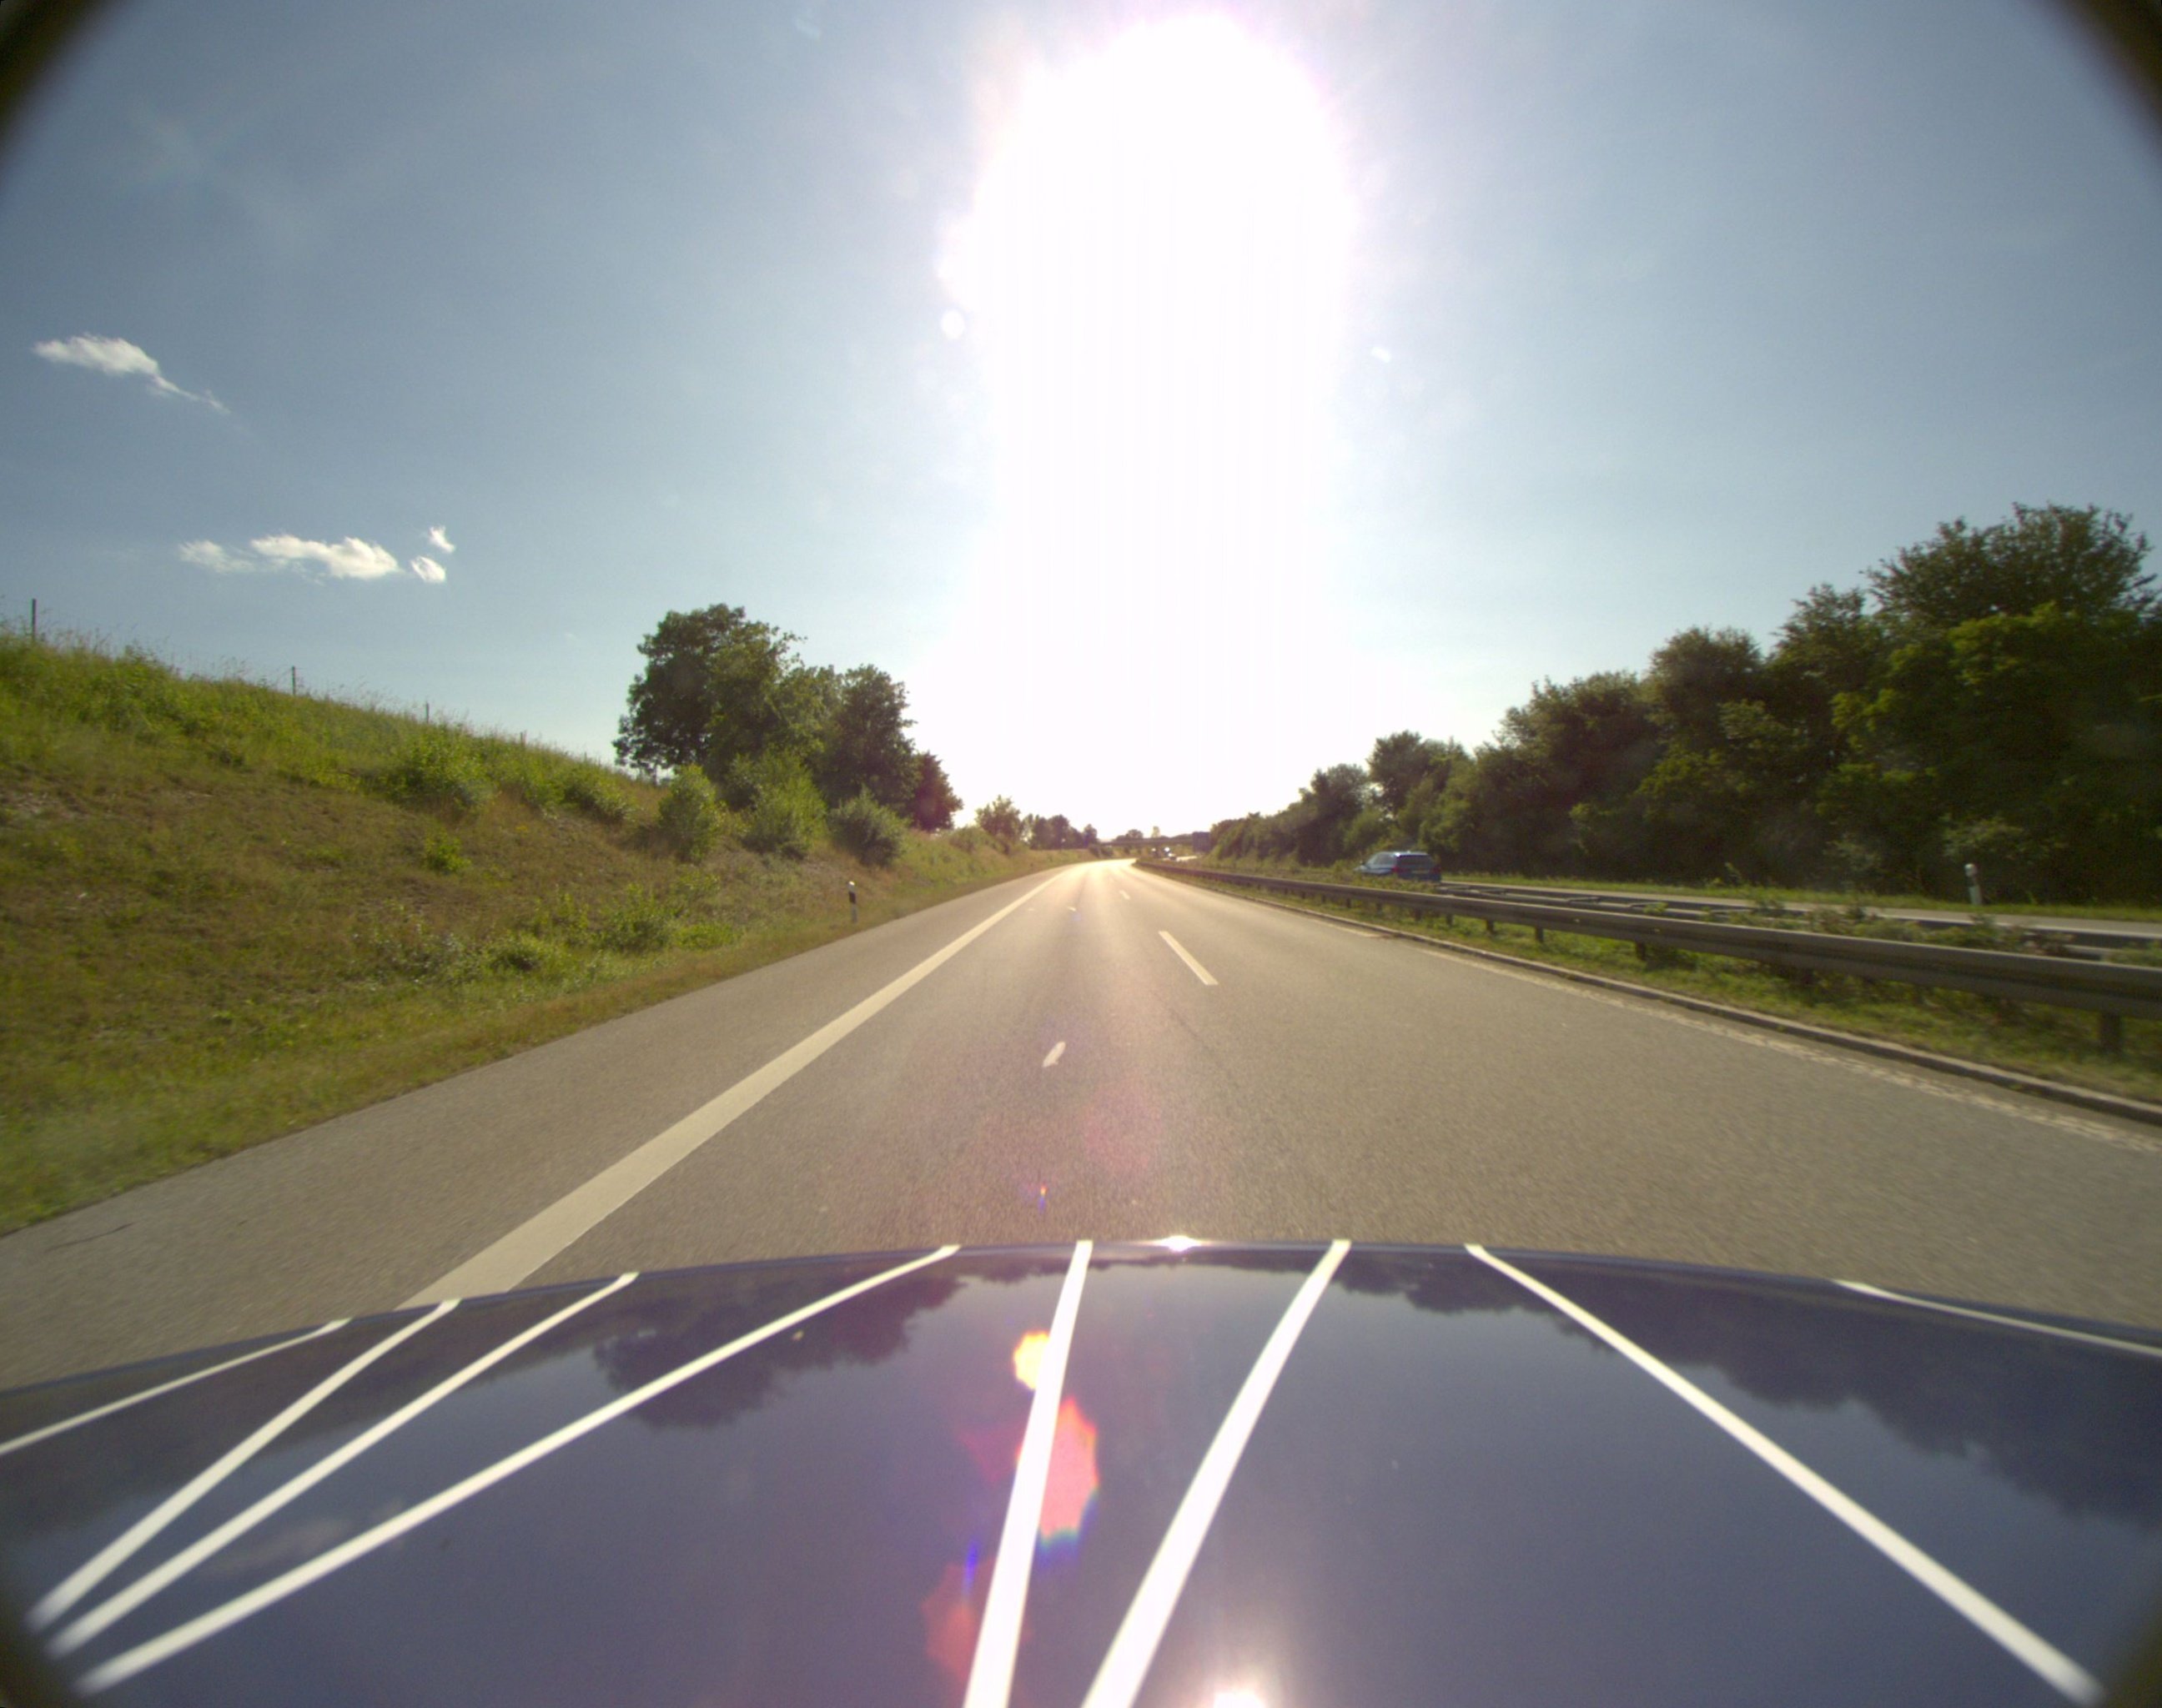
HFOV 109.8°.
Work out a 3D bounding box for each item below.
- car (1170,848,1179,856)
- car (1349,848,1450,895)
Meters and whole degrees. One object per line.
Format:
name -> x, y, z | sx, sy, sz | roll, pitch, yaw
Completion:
car -> 24.192, -0.531, 196.589 | 1.998, 2.002, 4.856 | 0, 1, 3
car -> 10.937, 0.542, 26.410 | 1.772, 1.486, 4.229 | 0, 1, 1
